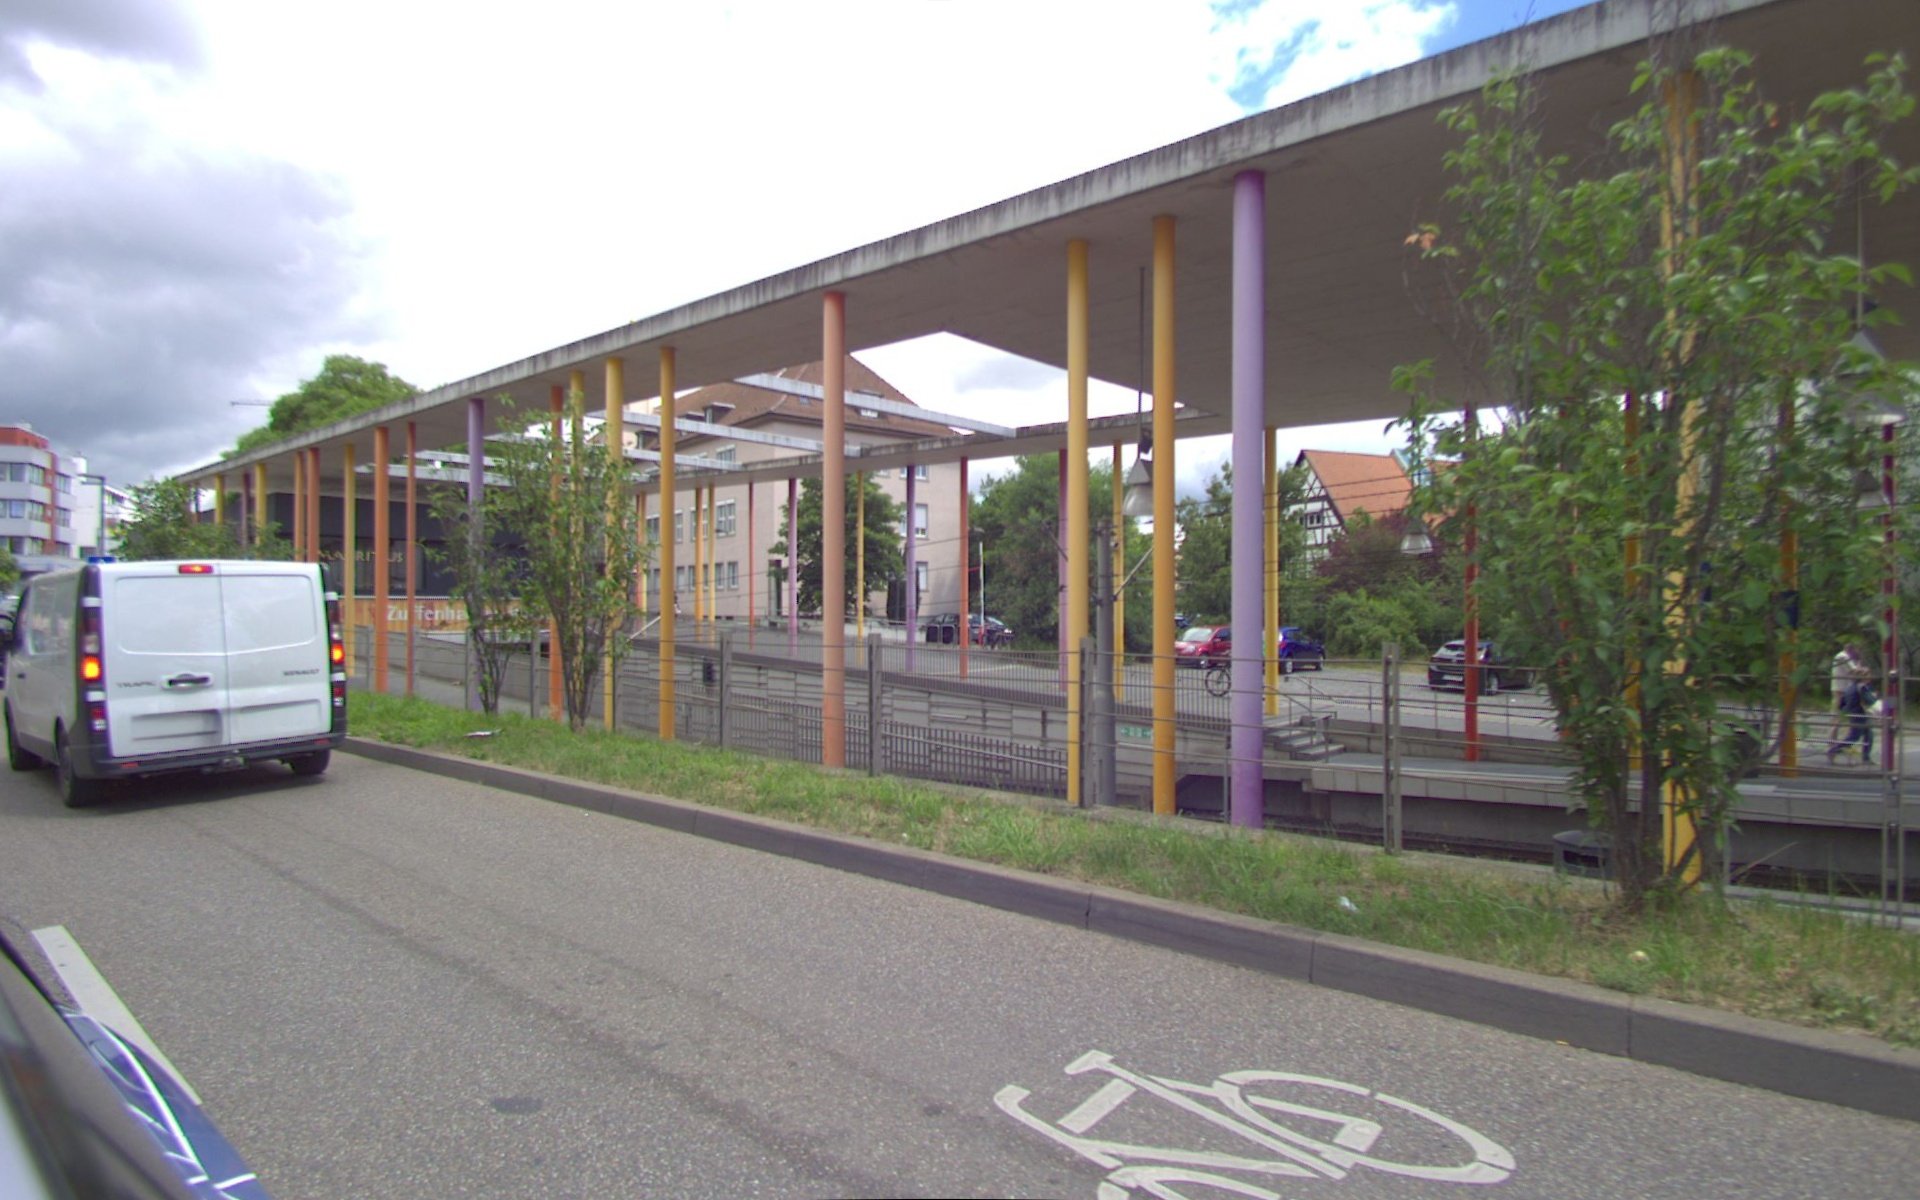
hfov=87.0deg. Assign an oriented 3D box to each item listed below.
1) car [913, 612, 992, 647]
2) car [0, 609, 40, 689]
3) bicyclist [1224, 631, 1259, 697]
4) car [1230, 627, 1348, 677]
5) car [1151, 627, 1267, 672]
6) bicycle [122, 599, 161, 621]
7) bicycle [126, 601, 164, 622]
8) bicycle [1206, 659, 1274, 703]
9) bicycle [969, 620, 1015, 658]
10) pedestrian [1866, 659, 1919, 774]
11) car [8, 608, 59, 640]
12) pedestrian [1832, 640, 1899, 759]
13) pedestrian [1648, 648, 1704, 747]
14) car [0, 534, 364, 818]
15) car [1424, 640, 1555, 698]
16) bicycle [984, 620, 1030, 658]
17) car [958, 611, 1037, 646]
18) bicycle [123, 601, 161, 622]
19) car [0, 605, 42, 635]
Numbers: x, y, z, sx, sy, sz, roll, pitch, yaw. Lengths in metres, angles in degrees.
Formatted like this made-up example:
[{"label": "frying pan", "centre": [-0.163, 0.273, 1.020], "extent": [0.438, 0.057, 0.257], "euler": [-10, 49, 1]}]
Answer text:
[{"label": "car", "centre": [-0.410, 1.522, 51.483], "extent": [1.874, 1.682, 4.006], "euler": [-1, -1, -40]}, {"label": "car", "centre": [-21.469, 1.035, 21.745], "extent": [4.622, 1.617, 1.900], "euler": [-1, 0, 40]}, {"label": "bicyclist", "centre": [7.109, 1.607, 25.550], "extent": [0.681, 1.605, 0.478], "euler": [1, 1, 44]}, {"label": "car", "centre": [10.843, 1.679, 33.269], "extent": [3.933, 1.411, 1.574], "euler": [0, 1, -34]}, {"label": "car", "centre": [8.691, 1.687, 35.230], "extent": [3.933, 1.347, 1.731], "euler": [0, 1, -34]}, {"label": "bicycle", "centre": [-43.211, 0.512, 53.452], "extent": [1.525, 1.136, 0.535], "euler": [1, -1, -35]}, {"label": "bicycle", "centre": [-44.299, 0.616, 55.037], "extent": [1.525, 1.136, 0.535], "euler": [1, -1, -35]}, {"label": "bicycle", "centre": [7.073, 2.033, 25.594], "extent": [1.613, 0.970, 0.478], "euler": [1, 1, 44]}, {"label": "bicycle", "centre": [1.167, 1.396, 36.905], "extent": [0.524, 1.278, 2.065], "euler": [0, 1, -36]}, {"label": "pedestrian", "centre": [14.543, 1.786, 15.663], "extent": [0.730, 1.674, 0.635], "euler": [1, 1, 41]}, {"label": "car", "centre": [-45.442, 1.164, 49.614], "extent": [1.751, 1.475, 4.238], "euler": [-1, 0, -44]}, {"label": "pedestrian", "centre": [15.278, 1.646, 17.088], "extent": [0.800, 1.897, 0.635], "euler": [1, 1, 41]}, {"label": "pedestrian", "centre": [12.853, 1.728, 18.165], "extent": [0.730, 1.674, 0.635], "euler": [1, 1, 41]}, {"label": "car", "centre": [-7.479, 0.530, 9.325], "extent": [5.063, 1.931, 1.983], "euler": [-1, 0, 42]}, {"label": "car", "centre": [14.939, 1.895, 28.510], "extent": [3.933, 1.347, 1.574], "euler": [0, 1, -34]}, {"label": "bicycle", "centre": [1.712, 1.416, 37.327], "extent": [0.524, 1.278, 2.065], "euler": [0, 1, -36]}, {"label": "car", "centre": [1.891, 1.491, 52.491], "extent": [1.874, 1.682, 4.006], "euler": [-1, -1, -40]}, {"label": "bicycle", "centre": [-43.860, 0.625, 54.288], "extent": [1.525, 1.136, 0.535], "euler": [1, -1, -35]}, {"label": "car", "centre": [-56.244, 1.155, 60.472], "extent": [1.776, 1.592, 4.008], "euler": [0, 1, -39]}]
